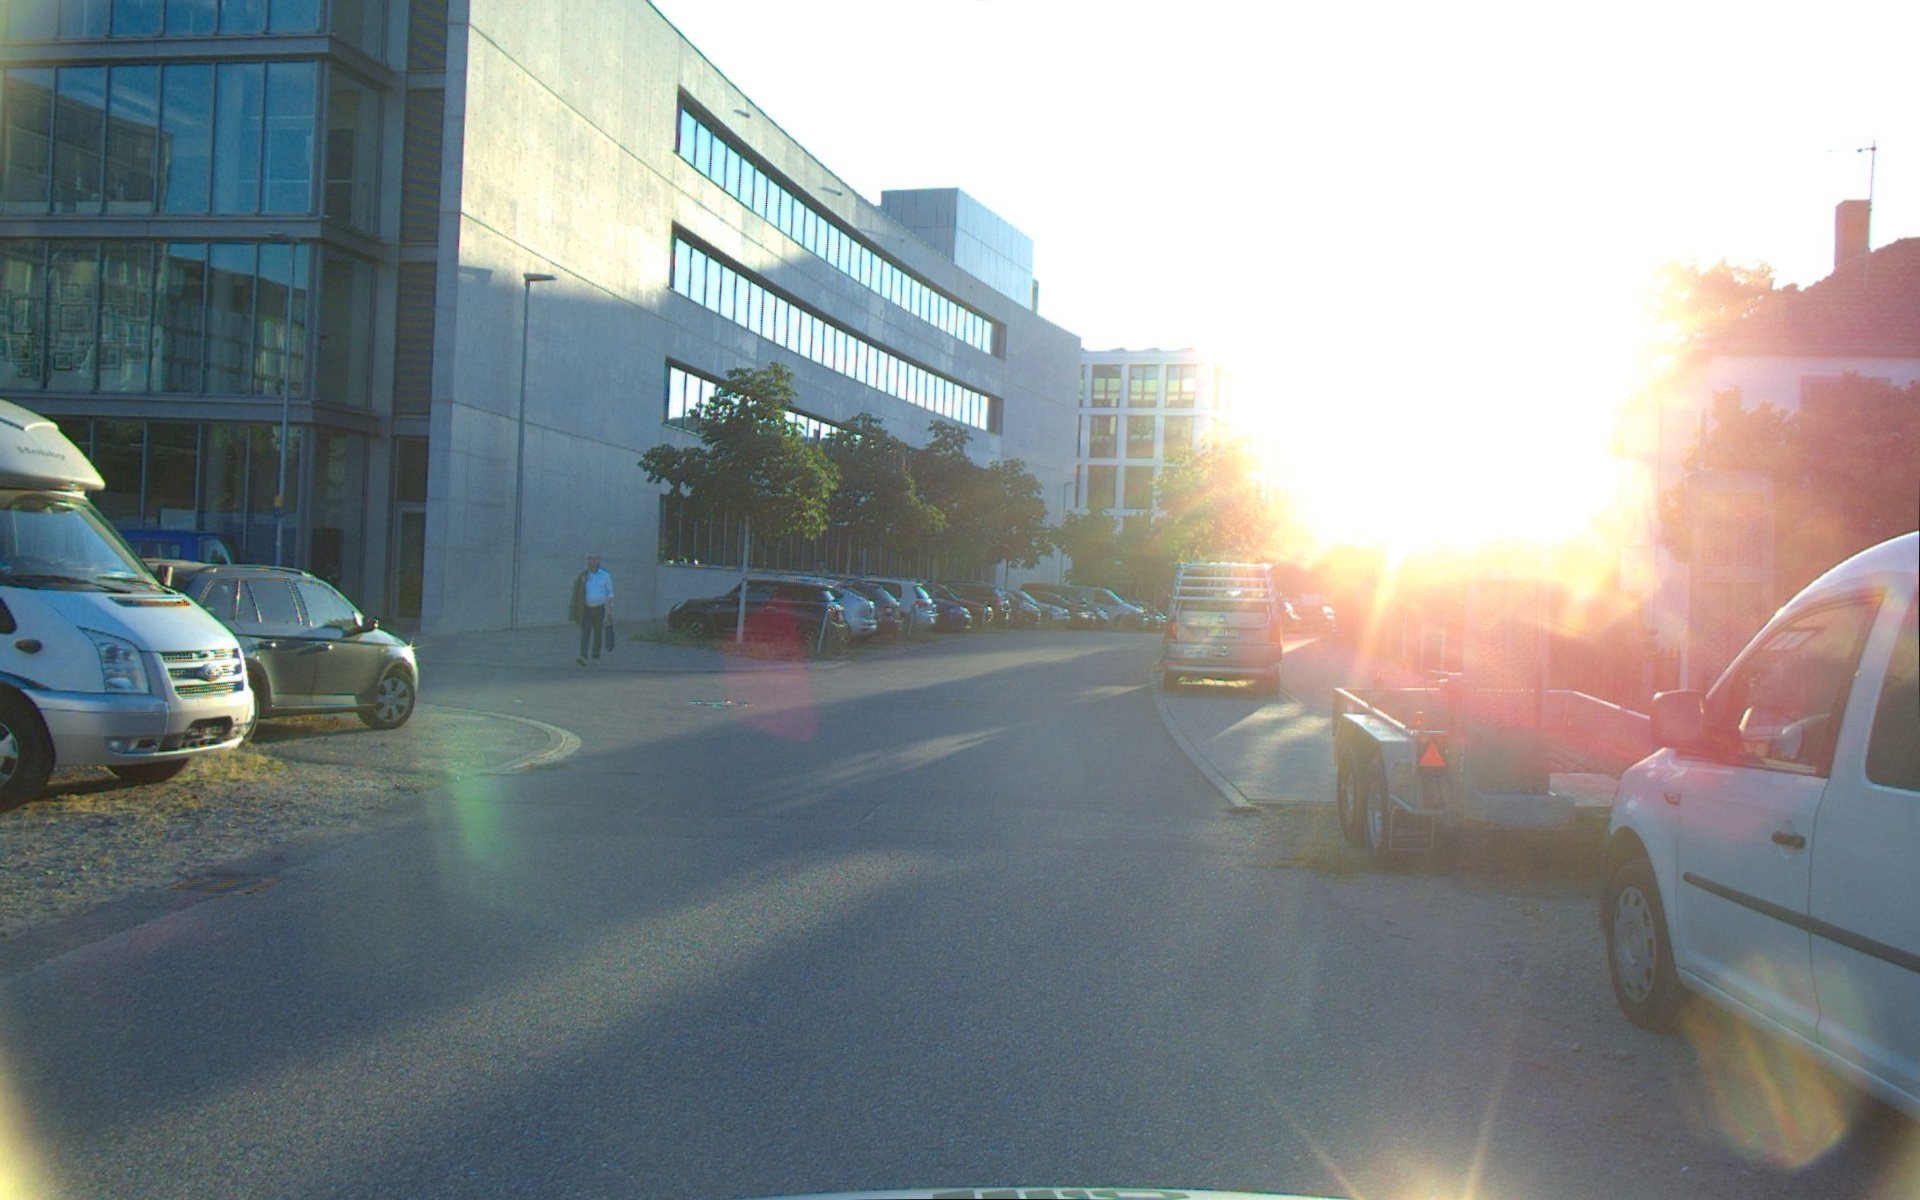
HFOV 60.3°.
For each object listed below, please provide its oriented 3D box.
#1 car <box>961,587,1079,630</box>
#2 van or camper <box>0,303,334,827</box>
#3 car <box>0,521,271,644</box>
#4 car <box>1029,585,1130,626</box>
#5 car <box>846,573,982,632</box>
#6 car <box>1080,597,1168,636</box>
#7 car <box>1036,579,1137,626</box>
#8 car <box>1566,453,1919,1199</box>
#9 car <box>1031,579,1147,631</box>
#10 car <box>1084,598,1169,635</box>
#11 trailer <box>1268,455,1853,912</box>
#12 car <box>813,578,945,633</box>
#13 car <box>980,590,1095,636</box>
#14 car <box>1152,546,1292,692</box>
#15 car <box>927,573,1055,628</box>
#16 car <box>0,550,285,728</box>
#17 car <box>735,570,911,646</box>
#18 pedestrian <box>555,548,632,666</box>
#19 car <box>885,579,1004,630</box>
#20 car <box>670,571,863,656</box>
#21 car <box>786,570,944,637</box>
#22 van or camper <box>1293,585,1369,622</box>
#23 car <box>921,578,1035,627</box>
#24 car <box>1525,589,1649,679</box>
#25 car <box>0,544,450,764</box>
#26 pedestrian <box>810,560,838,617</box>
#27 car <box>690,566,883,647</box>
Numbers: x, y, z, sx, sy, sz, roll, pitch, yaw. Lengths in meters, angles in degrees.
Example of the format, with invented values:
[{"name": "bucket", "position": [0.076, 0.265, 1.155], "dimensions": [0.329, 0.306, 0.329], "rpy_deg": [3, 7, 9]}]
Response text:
[{"name": "car", "position": [2.397, 0.321, 65.796], "dimensions": [4.341, 1.489, 1.764], "rpy_deg": [3, 1, 18]}, {"name": "van or camper", "position": [-7.887, -0.368, 10.693], "dimensions": [6.602, 2.948, 2.409], "rpy_deg": [3, 0, 1]}, {"name": "car", "position": [-14.194, -0.329, 28.326], "dimensions": [3.999, 1.863, 1.849], "rpy_deg": [3, 2, 10]}, {"name": "car", "position": [5.232, 0.250, 72.441], "dimensions": [4.058, 1.428, 1.725], "rpy_deg": [5, 0, 18]}, {"name": "car", "position": [-1.383, 0.052, 50.413], "dimensions": [3.788, 1.537, 1.761], "rpy_deg": [4, 1, 12]}, {"name": "car", "position": [7.972, 0.792, 80.425], "dimensions": [3.905, 1.548, 1.606], "rpy_deg": [5, 0, 18]}, {"name": "car", "position": [5.703, 0.126, 74.583], "dimensions": [4.159, 1.772, 1.725], "rpy_deg": [5, 0, 18]}, {"name": "car", "position": [3.309, 0.578, 4.675], "dimensions": [1.734, 1.863, 4.410], "rpy_deg": [2, 1, 3]}, {"name": "car", "position": [6.051, 0.234, 77.580], "dimensions": [4.972, 1.980, 1.889], "rpy_deg": [5, 0, 19]}, {"name": "car", "position": [8.312, 0.822, 82.532], "dimensions": [3.807, 1.514, 1.651], "rpy_deg": [4, 1, 20]}, {"name": "trailer", "position": [3.519, 0.394, 10.971], "dimensions": [2.021, 2.250, 5.223], "rpy_deg": [2, 1, 1]}, {"name": "car", "position": [-2.350, 0.150, 48.371], "dimensions": [3.556, 1.385, 1.687], "rpy_deg": [3, 1, 7]}, {"name": "car", "position": [3.190, 0.538, 68.113], "dimensions": [4.309, 1.525, 1.763], "rpy_deg": [5, 0, 22]}, {"name": "car", "position": [4.286, 0.266, 27.271], "dimensions": [2.021, 2.131, 4.876], "rpy_deg": [2, 1, 8]}, {"name": "car", "position": [1.138, 0.024, 59.813], "dimensions": [4.218, 1.726, 1.898], "rpy_deg": [3, 0, 14]}, {"name": "car", "position": [-8.198, 0.294, 15.585], "dimensions": [1.627, 1.447, 3.725], "rpy_deg": [3, 0, 10]}, {"name": "car", "position": [-3.279, 0.164, 39.963], "dimensions": [3.914, 1.538, 1.586], "rpy_deg": [4, 2, 5]}, {"name": "pedestrian", "position": [-6.036, 0.112, 27.251], "dimensions": [0.841, 1.882, 0.896], "rpy_deg": [2, 1, 43]}, {"name": "car", "position": [-0.488, 0.153, 55.303], "dimensions": [3.623, 1.483, 1.713], "rpy_deg": [3, 0, 13]}, {"name": "car", "position": [-4.045, 0.254, 34.892], "dimensions": [3.656, 1.507, 1.771], "rpy_deg": [4, 1, 6]}, {"name": "car", "position": [-2.555, 0.082, 44.903], "dimensions": [3.902, 1.537, 1.761], "rpy_deg": [4, 1, 11]}, {"name": "van or camper", "position": [28.597, 0.275, 127.453], "dimensions": [5.348, 2.527, 1.773], "rpy_deg": [4, 1, 27]}, {"name": "car", "position": [0.636, 0.100, 57.622], "dimensions": [3.624, 1.483, 1.680], "rpy_deg": [3, 0, 14]}, {"name": "car", "position": [11.138, 0.558, 29.591], "dimensions": [1.496, 1.469, 3.643], "rpy_deg": [2, 1, 12]}, {"name": "car", "position": [-6.355, 0.414, 14.481], "dimensions": [1.651, 1.545, 4.364], "rpy_deg": [4, 0, 11]}, {"name": "pedestrian", "position": [-4.460, -0.384, 54.189], "dimensions": [0.632, 1.815, 0.726], "rpy_deg": [3, 0, 12]}, {"name": "car", "position": [-3.904, 0.136, 37.680], "dimensions": [4.000, 1.555, 1.847], "rpy_deg": [4, 1, 5]}]
